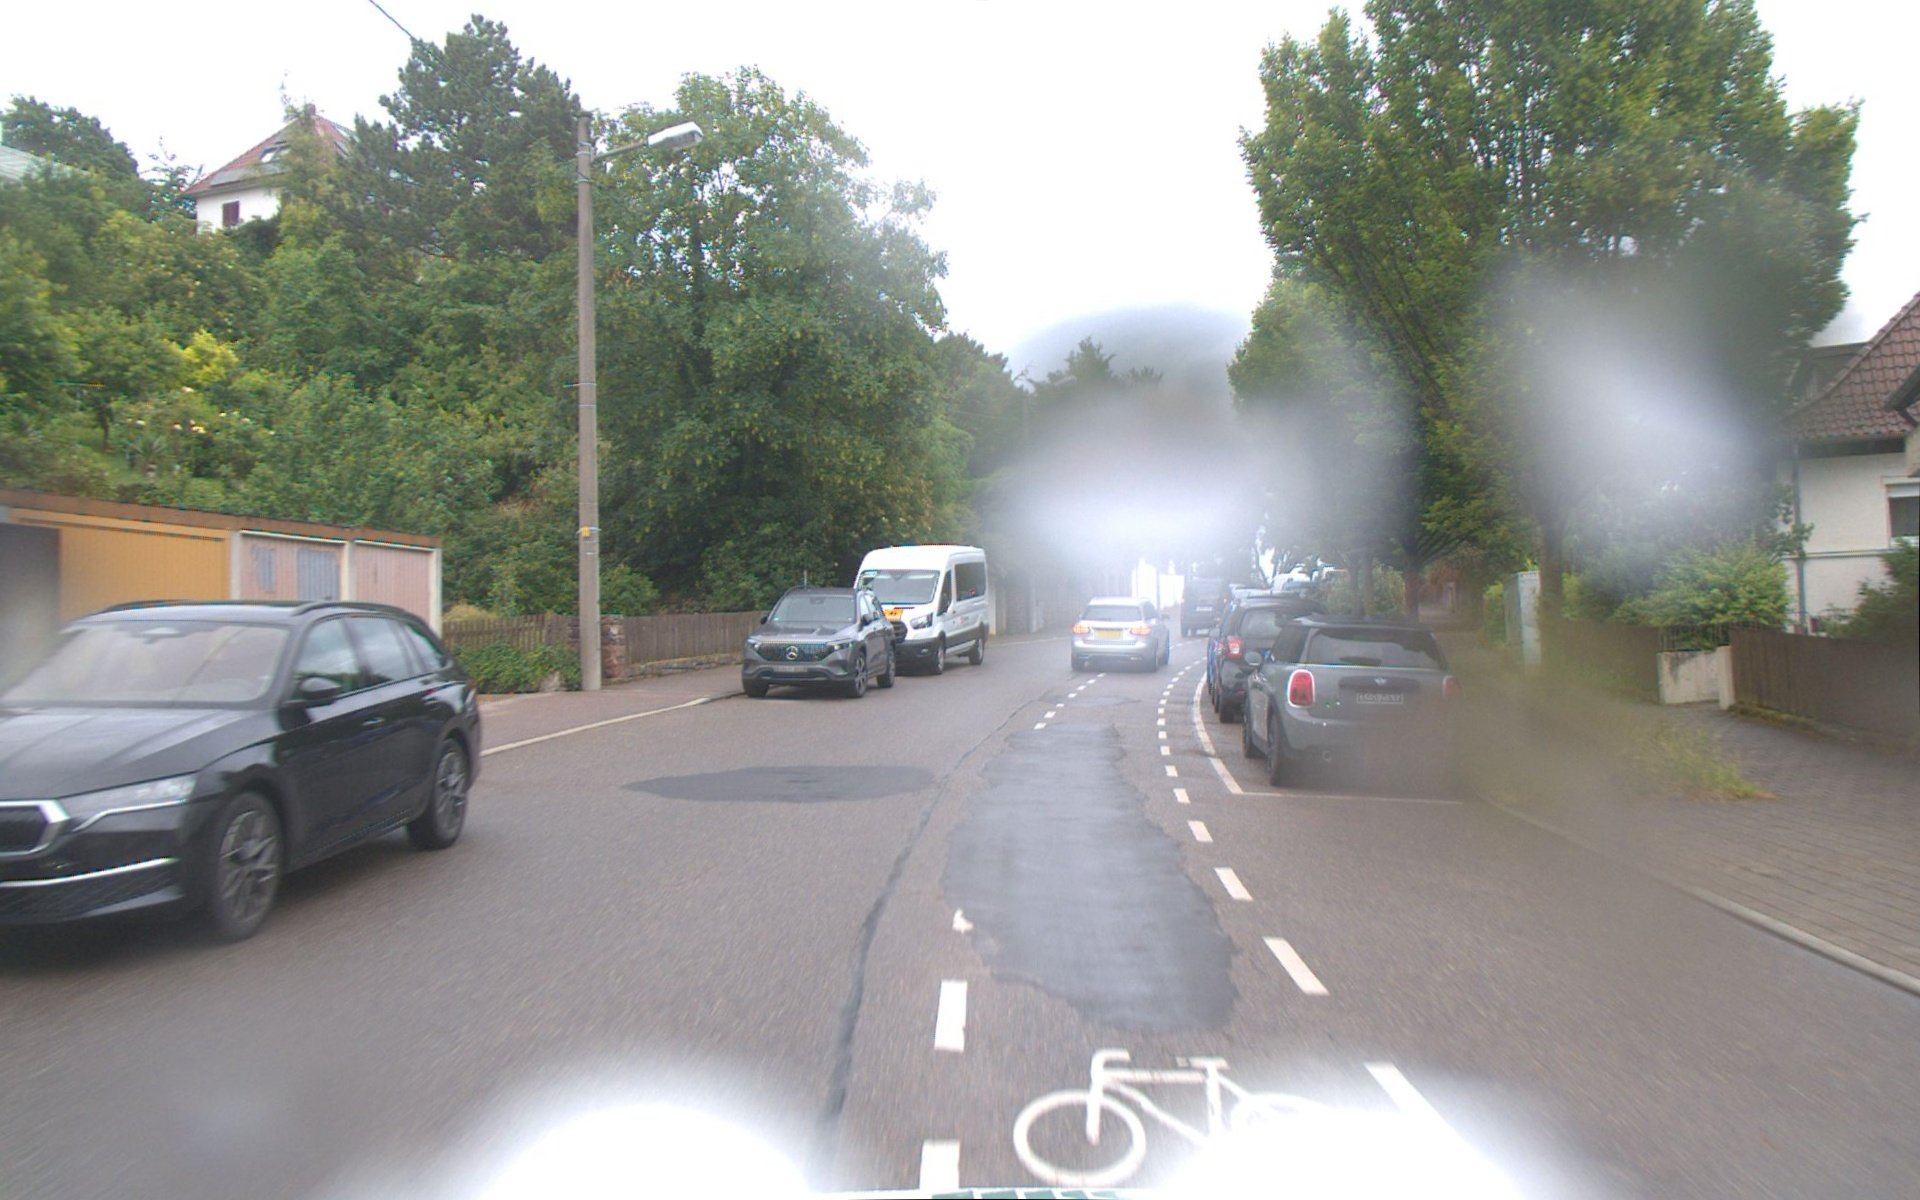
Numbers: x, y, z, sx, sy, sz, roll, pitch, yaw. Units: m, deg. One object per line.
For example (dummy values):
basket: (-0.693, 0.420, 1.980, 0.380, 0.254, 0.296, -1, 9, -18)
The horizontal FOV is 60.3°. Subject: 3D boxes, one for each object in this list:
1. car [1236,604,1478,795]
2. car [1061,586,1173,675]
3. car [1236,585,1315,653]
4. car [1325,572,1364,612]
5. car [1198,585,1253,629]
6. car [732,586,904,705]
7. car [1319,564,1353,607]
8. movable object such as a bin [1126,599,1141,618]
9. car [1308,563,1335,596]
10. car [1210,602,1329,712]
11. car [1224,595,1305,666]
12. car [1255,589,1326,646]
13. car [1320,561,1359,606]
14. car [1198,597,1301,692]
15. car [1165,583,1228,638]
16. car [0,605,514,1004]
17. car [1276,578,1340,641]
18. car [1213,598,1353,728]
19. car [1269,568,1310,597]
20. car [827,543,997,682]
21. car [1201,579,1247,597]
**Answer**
car: (3.548, 0.814, 15.349, 1.633, 1.496, 3.712, 2, 0, 5)
car: (3.362, 0.611, 34.679, 1.982, 1.738, 4.219, 0, 0, 10)
car: (8.164, 0.449, 42.517, 1.678, 1.583, 4.167, 2, 1, 15)
car: (20.982, -0.439, 90.420, 1.951, 2.088, 5.126, 0, 0, 11)
car: (11.018, 0.295, 68.419, 1.951, 1.738, 4.003, 0, 0, 13)
car: (-2.172, 0.669, 26.638, 1.855, 1.721, 4.549, -1, 0, 7)
car: (26.468, -1.038, 116.701, 2.079, 2.937, 5.775, 1, 1, 11)
movable object such as a bin: (8.635, 0.413, 82.447, 0.644, 0.935, 0.678, -1, 0, 15)
car: (28.886, -1.646, 132.179, 2.020, 2.538, 4.764, 1, 1, 12)
car: (4.788, 0.825, 25.976, 1.619, 1.546, 4.003, 1, 0, 8)
car: (6.982, 0.642, 37.678, 1.608, 1.449, 4.291, 1, 1, 13)
car: (9.513, 0.464, 47.402, 1.614, 1.507, 4.022, 1, 1, 17)
car: (22.435, -0.998, 97.922, 2.127, 2.536, 6.039, 1, 1, 12)
car: (5.485, 0.770, 31.027, 1.738, 1.580, 4.732, 1, 1, 11)
car: (7.790, 0.338, 54.776, 1.951, 1.738, 4.003, 0, 0, 6)
car: (-3.834, 0.780, 8.556, 1.677, 1.485, 4.683, 0, 0, 1)
car: (11.038, 0.245, 52.300, 1.740, 1.884, 4.428, 0, 1, 15)
car: (4.244, 0.775, 22.067, 1.592, 1.590, 3.024, 1, 0, 7)
car: (30.948, -1.659, 155.512, 2.088, 2.571, 4.482, 1, 1, -13)
car: (-0.854, 0.203, 34.205, 2.049, 2.594, 6.103, -1, 1, 12)
car: (26.633, -1.211, 166.846, 1.950, 1.727, 4.437, 0, 1, -37)
